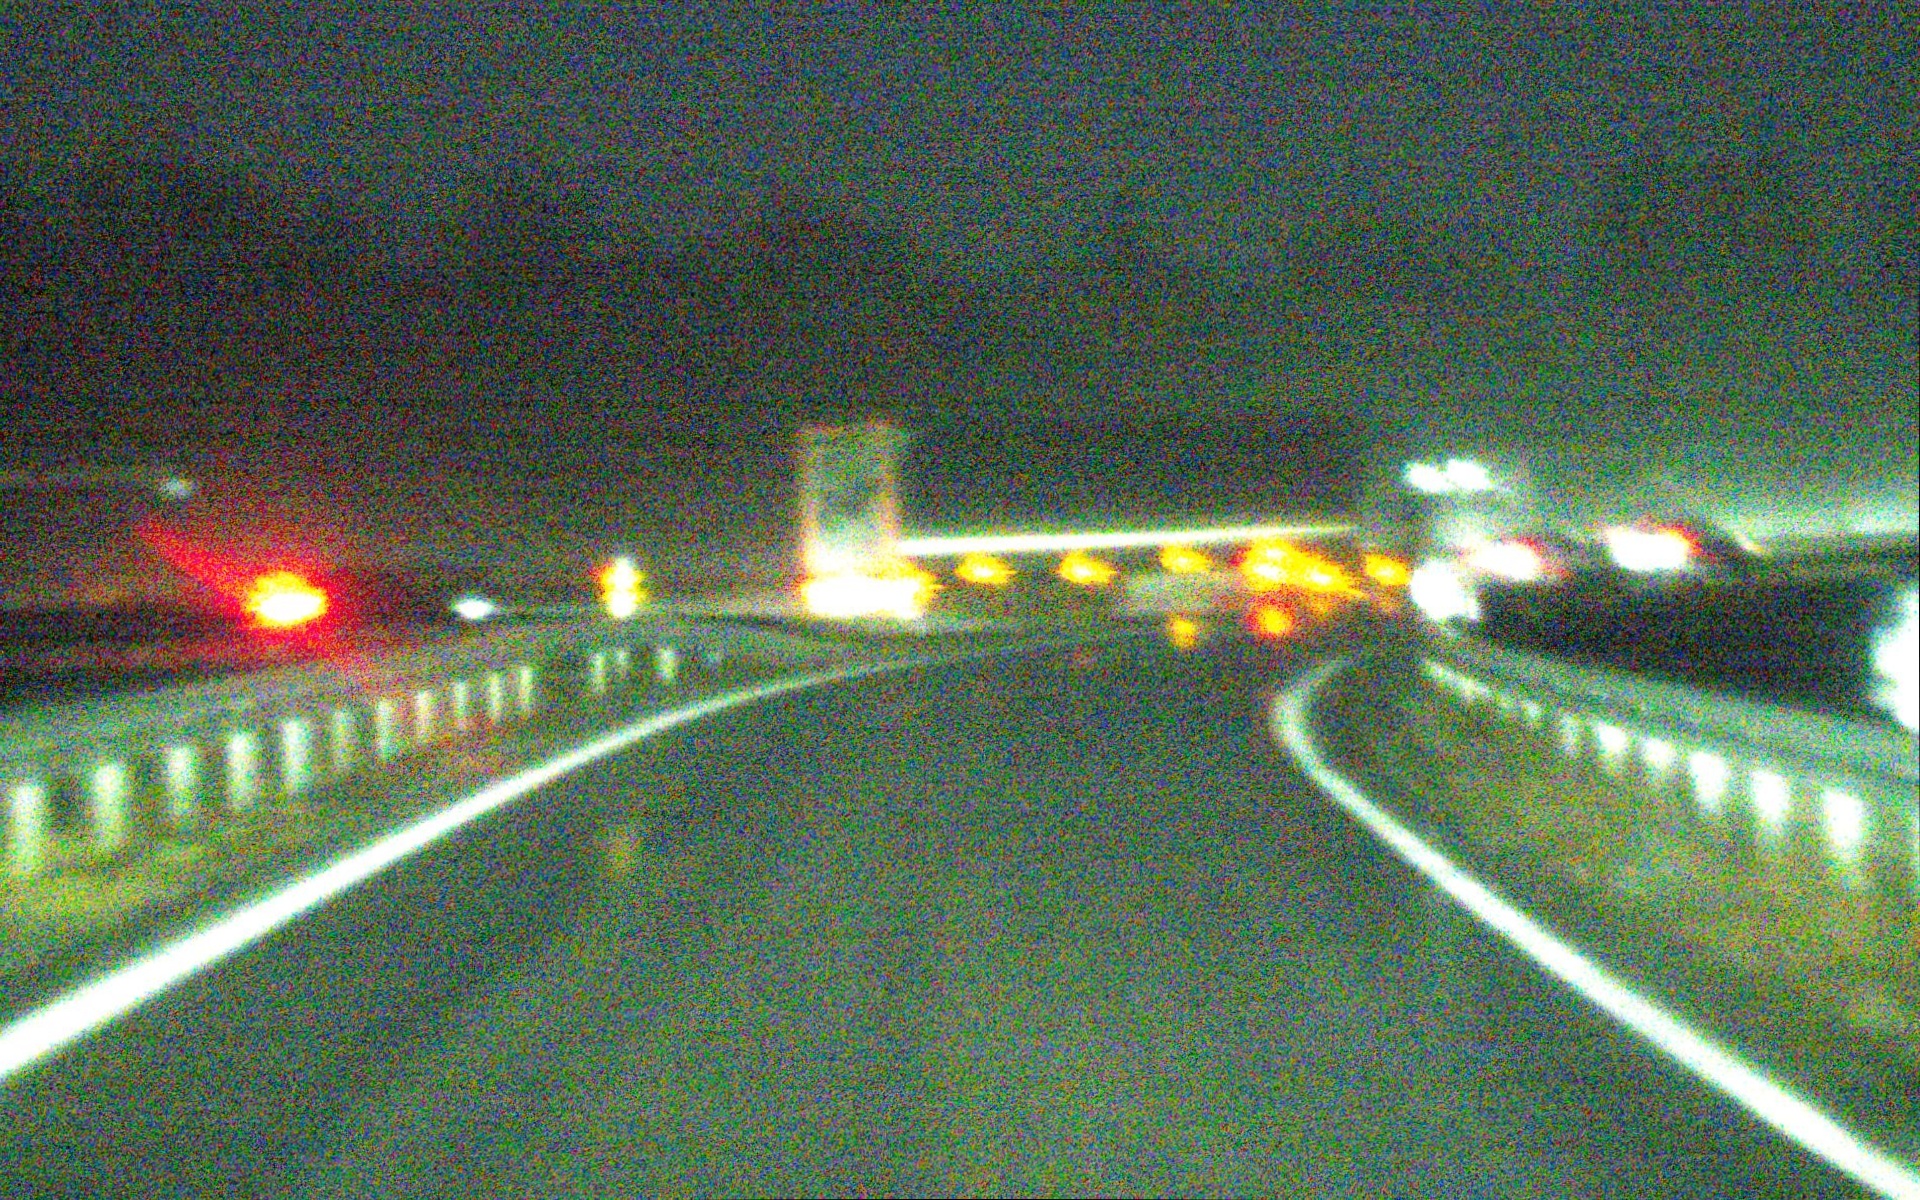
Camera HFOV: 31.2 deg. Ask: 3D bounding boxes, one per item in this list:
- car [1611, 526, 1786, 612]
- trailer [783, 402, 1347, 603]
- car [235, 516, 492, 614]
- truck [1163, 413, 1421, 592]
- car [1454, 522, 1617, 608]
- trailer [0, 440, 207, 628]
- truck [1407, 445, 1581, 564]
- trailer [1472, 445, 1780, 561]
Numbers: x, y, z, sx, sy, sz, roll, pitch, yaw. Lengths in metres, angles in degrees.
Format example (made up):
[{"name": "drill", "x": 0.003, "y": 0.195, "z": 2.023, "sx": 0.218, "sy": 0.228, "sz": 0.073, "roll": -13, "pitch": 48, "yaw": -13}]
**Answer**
[{"name": "car", "x": 16.681, "y": -0.731, "z": 77.579, "sx": 3.990, "sy": 1.812, "sz": 1.999, "roll": -3, "pitch": 3, "yaw": -44}, {"name": "trailer", "x": 2.420, "y": -1.979, "z": 69.138, "sx": 13.616, "sy": 3.712, "sz": 2.599, "roll": -2, "pitch": 3, "yaw": -44}, {"name": "car", "x": -10.437, "y": -0.647, "z": 60.273, "sx": 3.989, "sy": 1.612, "sz": 1.999, "roll": -1, "pitch": 3, "yaw": -41}, {"name": "truck", "x": 7.162, "y": -2.109, "z": 73.783, "sx": 5.444, "sy": 3.698, "sz": 2.595, "roll": -2, "pitch": 3, "yaw": -44}, {"name": "car", "x": 14.375, "y": -0.895, "z": 85.761, "sx": 3.989, "sy": 2.006, "sz": 1.999, "roll": -2, "pitch": 3, "yaw": -43}, {"name": "trailer", "x": -22.959, "y": -1.367, "z": 73.202, "sx": 13.976, "sy": 4.015, "sz": 2.778, "roll": -2, "pitch": 3, "yaw": -42}, {"name": "truck", "x": 17.260, "y": -3.118, "z": 110.943, "sx": 5.689, "sy": 3.718, "sz": 2.660, "roll": -2, "pitch": 3, "yaw": -44}, {"name": "trailer", "x": 22.669, "y": -3.360, "z": 116.130, "sx": 13.906, "sy": 3.718, "sz": 2.659, "roll": -3, "pitch": 3, "yaw": -44}]
